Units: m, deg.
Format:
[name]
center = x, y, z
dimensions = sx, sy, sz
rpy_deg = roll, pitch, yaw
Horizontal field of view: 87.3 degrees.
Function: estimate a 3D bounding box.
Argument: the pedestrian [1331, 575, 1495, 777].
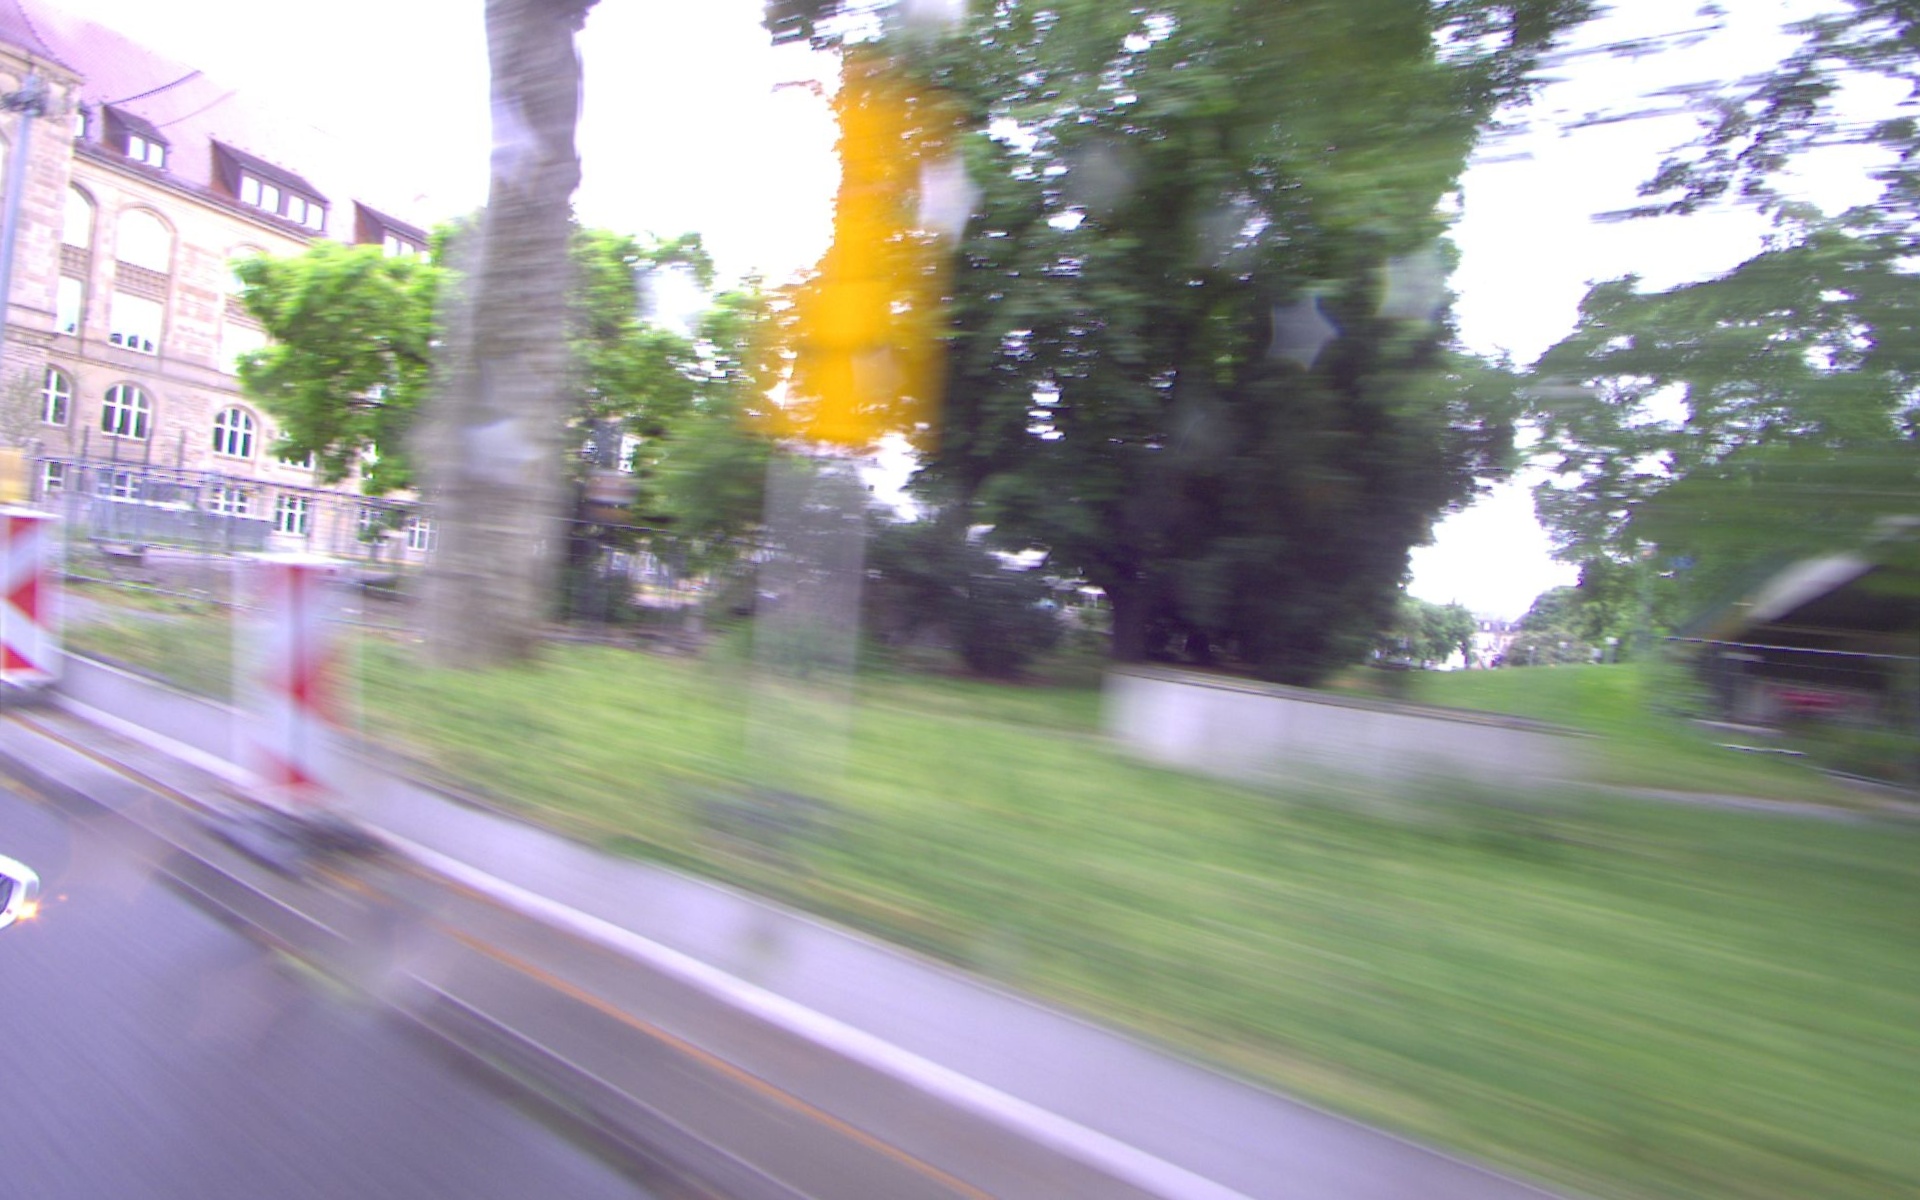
[pedestrian]
center = 4.993, 0.806, 11.167
dimensions = 1.022, 2.039, 1.050
rpy_deg = 7, 1, -11
